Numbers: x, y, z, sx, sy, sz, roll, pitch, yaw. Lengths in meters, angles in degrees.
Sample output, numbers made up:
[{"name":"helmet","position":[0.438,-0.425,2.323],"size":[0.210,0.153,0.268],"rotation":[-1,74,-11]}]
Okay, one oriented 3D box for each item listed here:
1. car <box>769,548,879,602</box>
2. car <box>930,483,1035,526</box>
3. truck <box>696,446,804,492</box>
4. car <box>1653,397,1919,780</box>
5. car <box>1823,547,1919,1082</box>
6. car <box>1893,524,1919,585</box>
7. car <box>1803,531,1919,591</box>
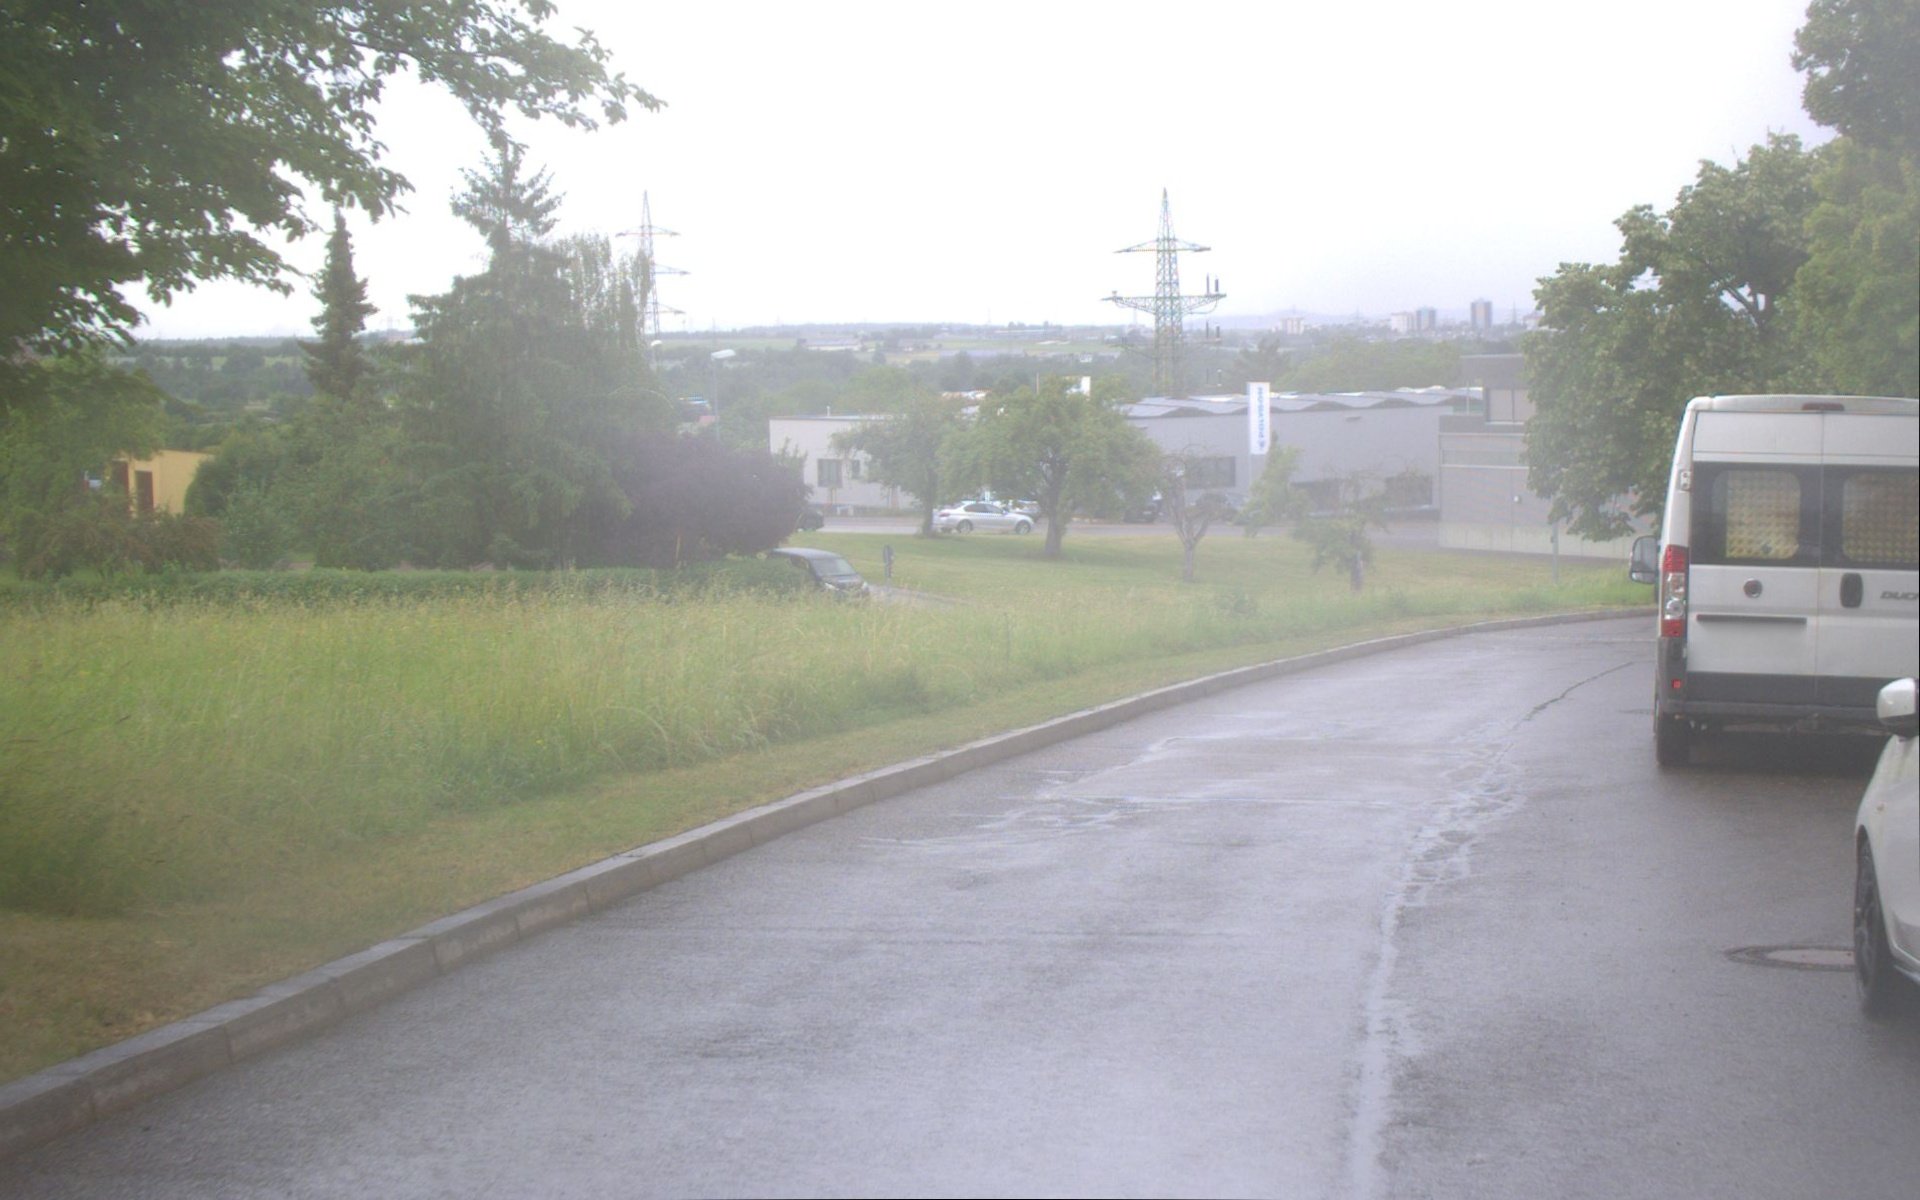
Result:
[{"name":"car","position":[-4.339,-0.813,109.252],"size":[1.775,1.591,4.000],"rotation":[-1,3,-31]},{"name":"car","position":[1.014,-4.283,153.916],"size":[4.261,1.696,1.798],"rotation":[1,4,-25]},{"name":"truck","position":[-11.480,-7.153,188.294],"size":[5.310,2.301,2.436],"rotation":[0,4,-25]},{"name":"car","position":[6.144,-0.134,24.945],"size":[2.119,2.459,5.507],"rotation":[1,1,11]},{"name":"car","position":[3.523,0.608,9.754],"size":[1.606,1.497,3.725],"rotation":[1,1,7]},{"name":"car","position":[25.748,-1.152,86.903],"size":[3.875,1.542,1.771],"rotation":[1,1,27]},{"name":"car","position":[21.845,-0.916,80.003],"size":[3.993,1.356,1.851],"rotation":[-1,1,28]}]
